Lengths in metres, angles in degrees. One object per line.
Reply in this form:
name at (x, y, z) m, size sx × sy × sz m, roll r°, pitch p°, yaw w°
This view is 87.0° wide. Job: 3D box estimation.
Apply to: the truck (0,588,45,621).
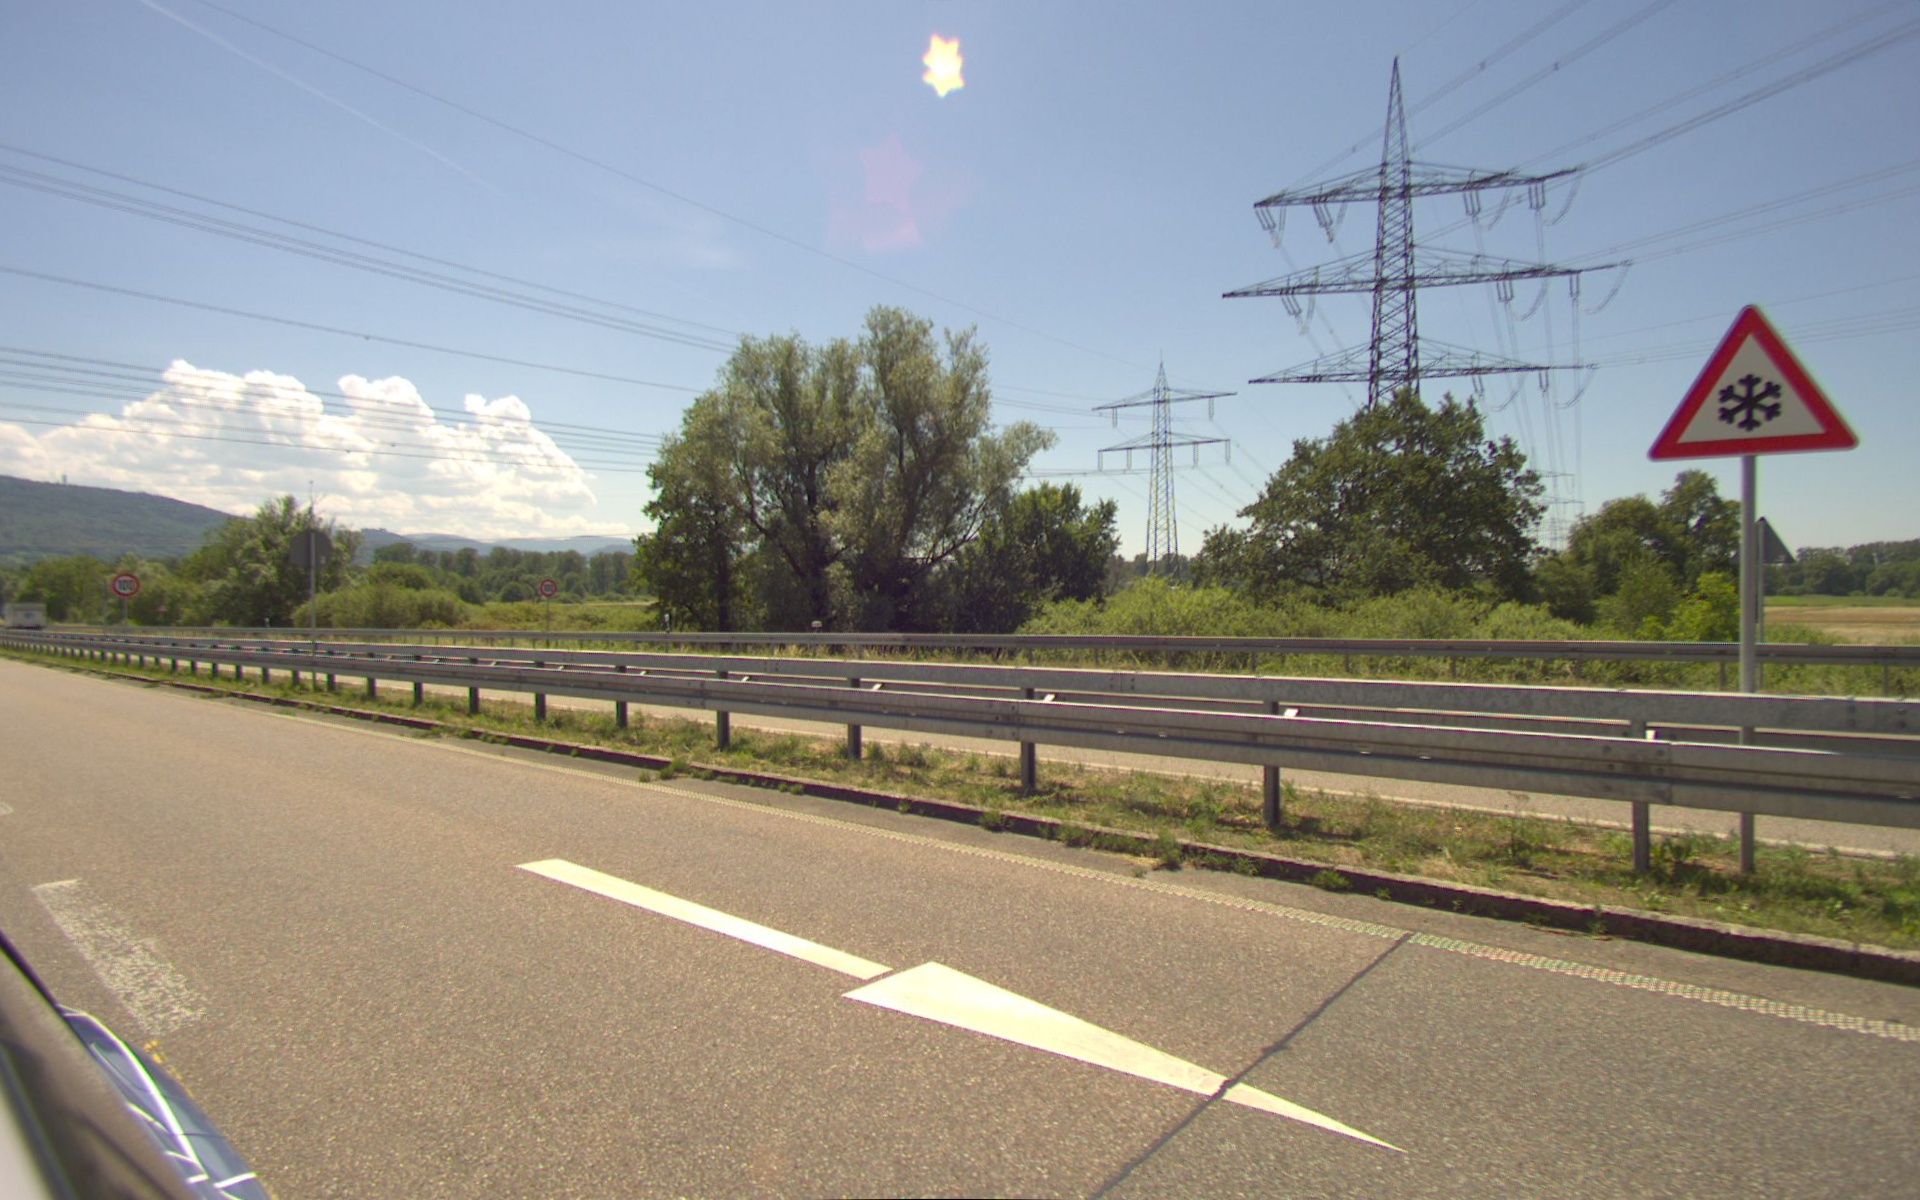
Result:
truck at (-93.081, 0.482, 100.254) m, size 8.402 × 3.217 × 2.690 m, roll -1°, pitch -1°, yaw 42°
